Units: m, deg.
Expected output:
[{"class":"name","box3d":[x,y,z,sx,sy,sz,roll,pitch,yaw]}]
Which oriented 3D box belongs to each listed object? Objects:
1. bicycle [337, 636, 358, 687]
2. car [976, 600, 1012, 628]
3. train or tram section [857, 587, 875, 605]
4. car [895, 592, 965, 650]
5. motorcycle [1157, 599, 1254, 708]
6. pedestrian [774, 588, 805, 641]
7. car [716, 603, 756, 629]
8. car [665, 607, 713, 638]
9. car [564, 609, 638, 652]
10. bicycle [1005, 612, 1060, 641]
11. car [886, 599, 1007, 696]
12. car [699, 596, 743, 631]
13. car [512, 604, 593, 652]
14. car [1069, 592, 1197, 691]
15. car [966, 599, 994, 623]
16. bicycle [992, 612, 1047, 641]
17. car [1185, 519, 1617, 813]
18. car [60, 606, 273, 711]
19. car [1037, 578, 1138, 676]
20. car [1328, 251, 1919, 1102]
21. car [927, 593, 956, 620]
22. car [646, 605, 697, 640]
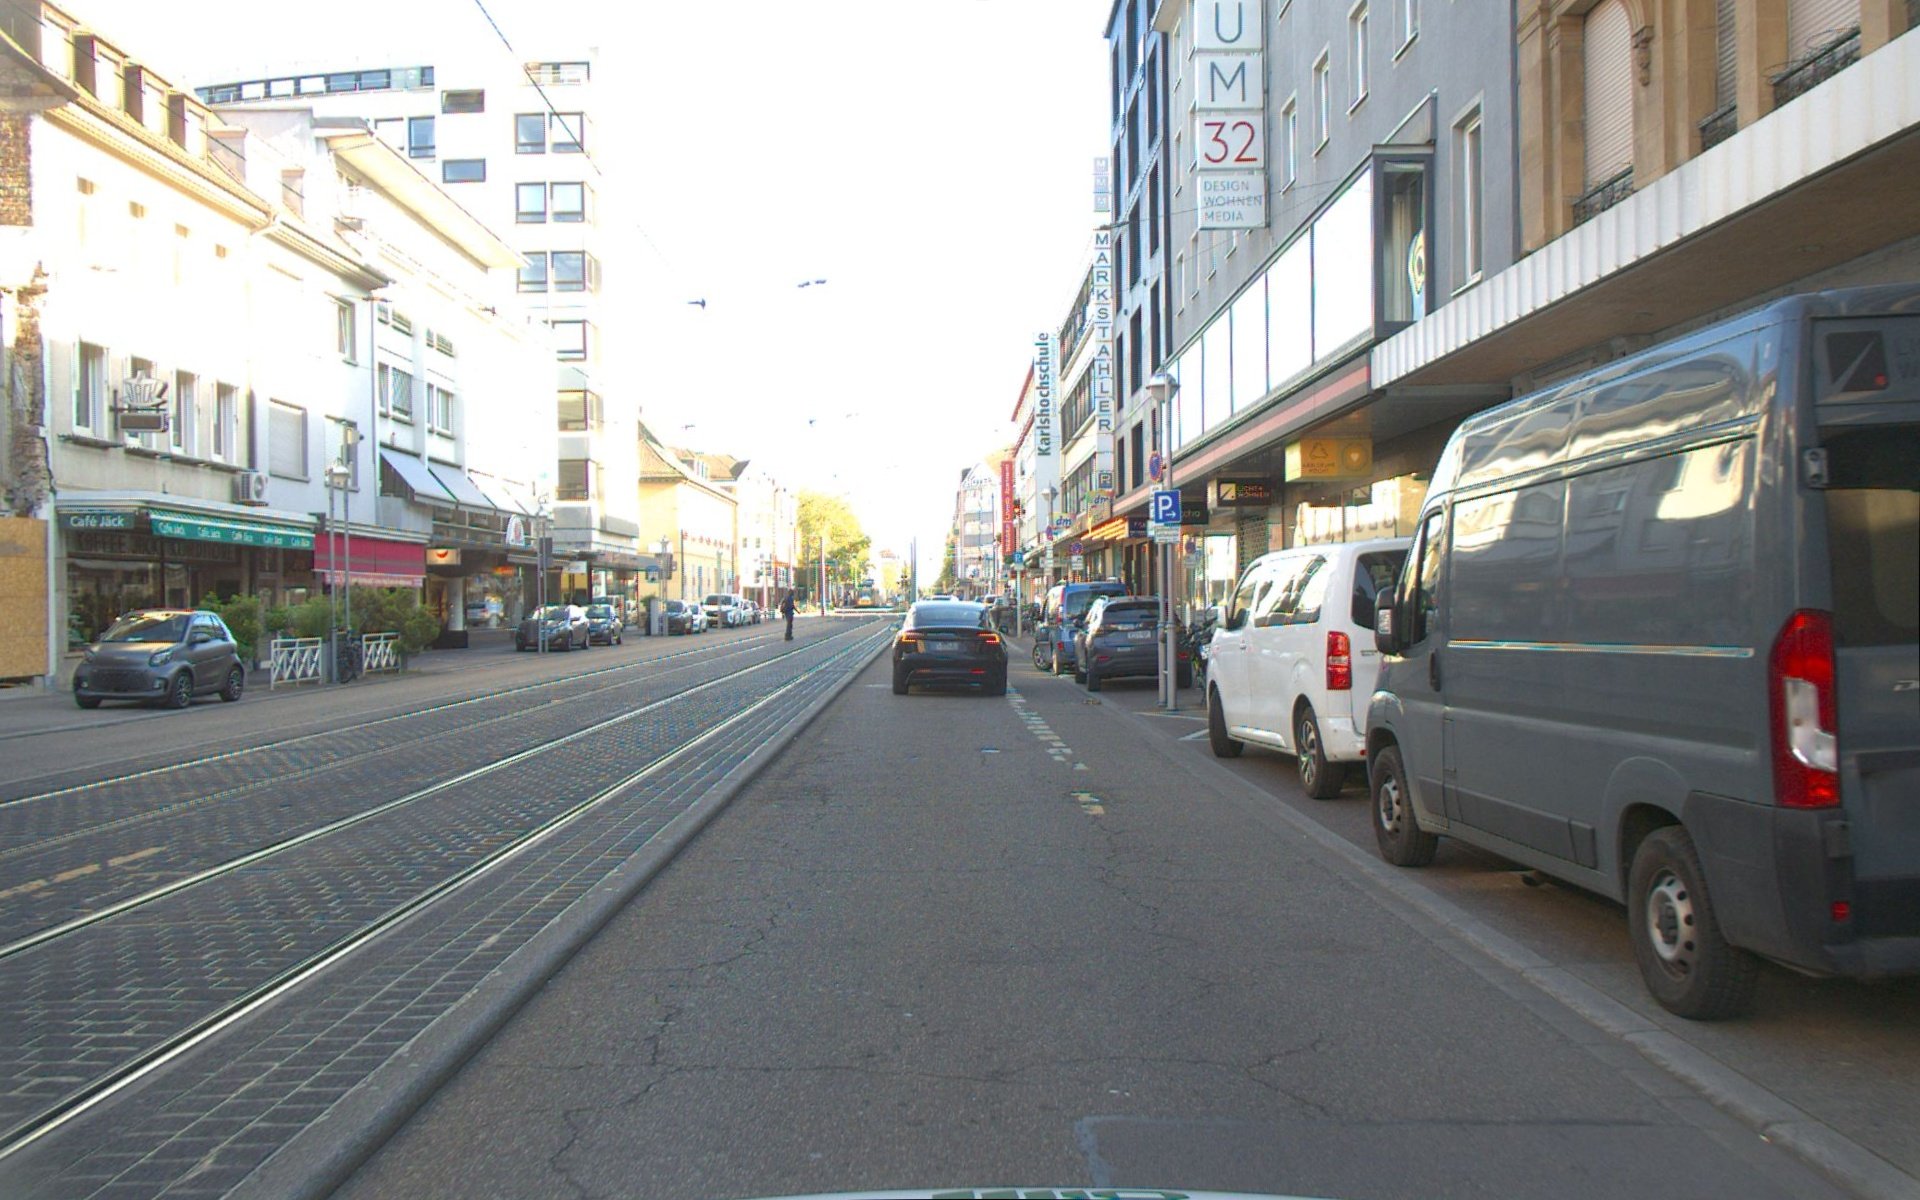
[{"class":"bicycle","box3d":[-12.776,1.271,34.509,0.363,1.020,1.596,-1,0,-19]},{"class":"car","box3d":[1.930,0.803,94.970,1.953,1.570,3.999,0,-1,-1]},{"class":"train or tram section","box3d":[-13.551,-0.582,239.712,1.952,2.680,6.803,0,0,2]},{"class":"car","box3d":[-0.814,0.550,43.548,1.726,1.443,4.352,0,-1,-2]},{"class":"motorcycle","box3d":[3.300,0.707,22.521,0.797,1.338,2.632,-4,-1,-1]},{"class":"pedestrian","box3d":[-6.070,0.521,58.940,0.756,1.881,0.827,-1,0,27]},{"class":"car","box3d":[-14.236,0.999,105.356,1.947,1.641,4.273,-1,0,0]},{"class":"car","box3d":[-13.901,1.117,85.030,1.733,1.535,3.972,-1,0,1]},{"class":"car","box3d":[-13.376,1.121,61.857,1.733,1.535,3.861,-1,0,3]},{"class":"bicycle","box3d":[2.867,1.046,65.280,2.116,1.116,0.686,-1,0,-4]},{"class":"car","box3d":[-0.213,0.721,27.223,1.831,1.452,4.364,0,0,0]},{"class":"car","box3d":[-14.180,0.777,98.407,1.968,1.995,4.723,-1,0,-1]},{"class":"car","box3d":[-13.677,0.924,55.719,1.733,1.535,3.864,-1,0,0]},{"class":"car","box3d":[2.848,0.649,27.955,1.716,1.525,3.753,-1,0,0]},{"class":"car","box3d":[1.487,0.826,123.460,1.953,1.784,3.999,0,-1,-1]},{"class":"bicycle","box3d":[2.384,1.069,66.156,2.116,1.116,0.686,-1,0,-4]},{"class":"car","box3d":[3.485,0.464,14.151,2.116,1.960,4.614,-4,0,-4]},{"class":"car","box3d":[-13.056,0.917,27.455,1.641,1.573,3.743,1,0,1]},{"class":"car","box3d":[2.568,0.512,34.089,1.784,1.903,3.753,0,0,0]},{"class":"car","box3d":[3.465,0.184,7.616,2.127,2.504,5.360,-2,0,-2]},{"class":"car","box3d":[-1.307,0.423,117.689,2.042,1.903,3.753,0,0,0]},{"class":"car","box3d":[-13.749,1.054,79.084,1.682,1.599,3.850,-1,0,1]}]
